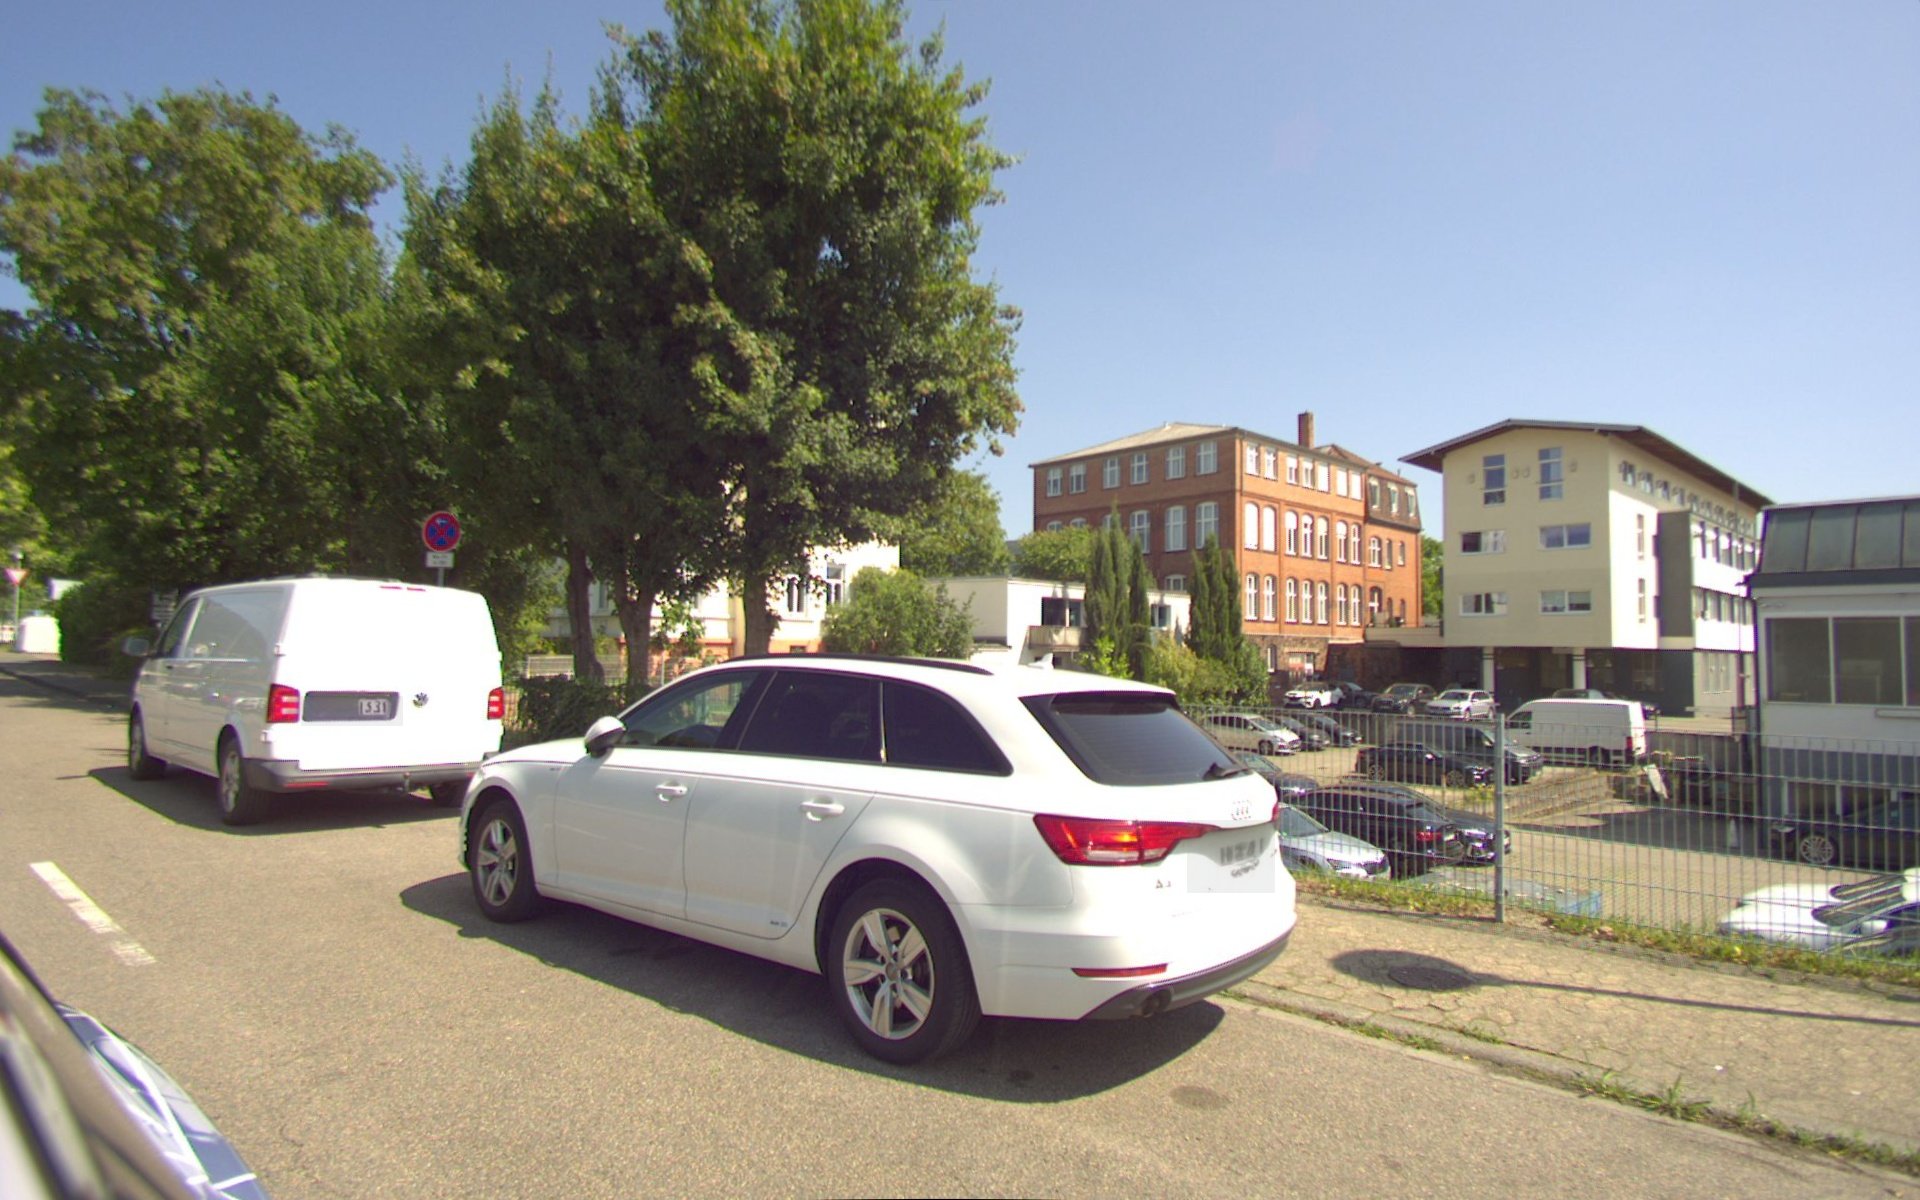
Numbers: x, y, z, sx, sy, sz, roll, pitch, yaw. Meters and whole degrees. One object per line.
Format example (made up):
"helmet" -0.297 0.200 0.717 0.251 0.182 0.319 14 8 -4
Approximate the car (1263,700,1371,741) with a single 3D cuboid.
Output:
"car" 17.006 5.723 48.384 1.794 1.690 4.608 6 -7 -41

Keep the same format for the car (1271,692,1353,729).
"car" 18.820 5.839 54.060 4.529 1.690 2.119 2 -4 -40

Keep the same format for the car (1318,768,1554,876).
"car" 9.656 4.437 20.773 1.780 1.453 4.006 3 -3 -40

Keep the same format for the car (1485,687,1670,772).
"car" 24.851 5.133 40.950 2.405 2.898 5.943 5 -5 -40

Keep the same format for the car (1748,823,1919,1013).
"car" 13.000 4.254 13.050 4.414 1.865 1.899 0 -2 41

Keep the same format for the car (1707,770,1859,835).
"car" 26.756 6.533 32.966 1.764 1.529 3.603 5 -5 -41

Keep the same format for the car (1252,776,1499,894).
"car" 7.850 4.379 19.416 1.780 1.453 4.006 3 -3 -40

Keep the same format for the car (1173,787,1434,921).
"car" 5.903 4.327 17.787 1.780 1.453 4.006 3 -3 -40

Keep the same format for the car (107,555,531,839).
"car" -6.301 0.808 9.668 5.053 2.029 1.951 -1 -5 41

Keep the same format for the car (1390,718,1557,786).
"car" 18.285 5.376 36.260 1.969 2.037 4.932 6 -7 -41

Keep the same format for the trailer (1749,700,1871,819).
"trailer" 33.740 6.126 40.094 6.778 4.025 2.759 3 -5 -43

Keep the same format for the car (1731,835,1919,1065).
"car" 11.340 4.035 11.205 4.352 1.944 1.842 -1 -2 41

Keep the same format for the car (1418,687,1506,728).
"car" 23.929 5.081 48.146 4.529 1.690 2.119 3 -3 -40

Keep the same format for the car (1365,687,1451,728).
"car" 22.177 5.267 49.982 4.529 1.690 2.119 3 -3 -40

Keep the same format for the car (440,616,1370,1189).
"car" -0.560 0.918 4.838 4.395 1.555 1.697 -1 -5 38
